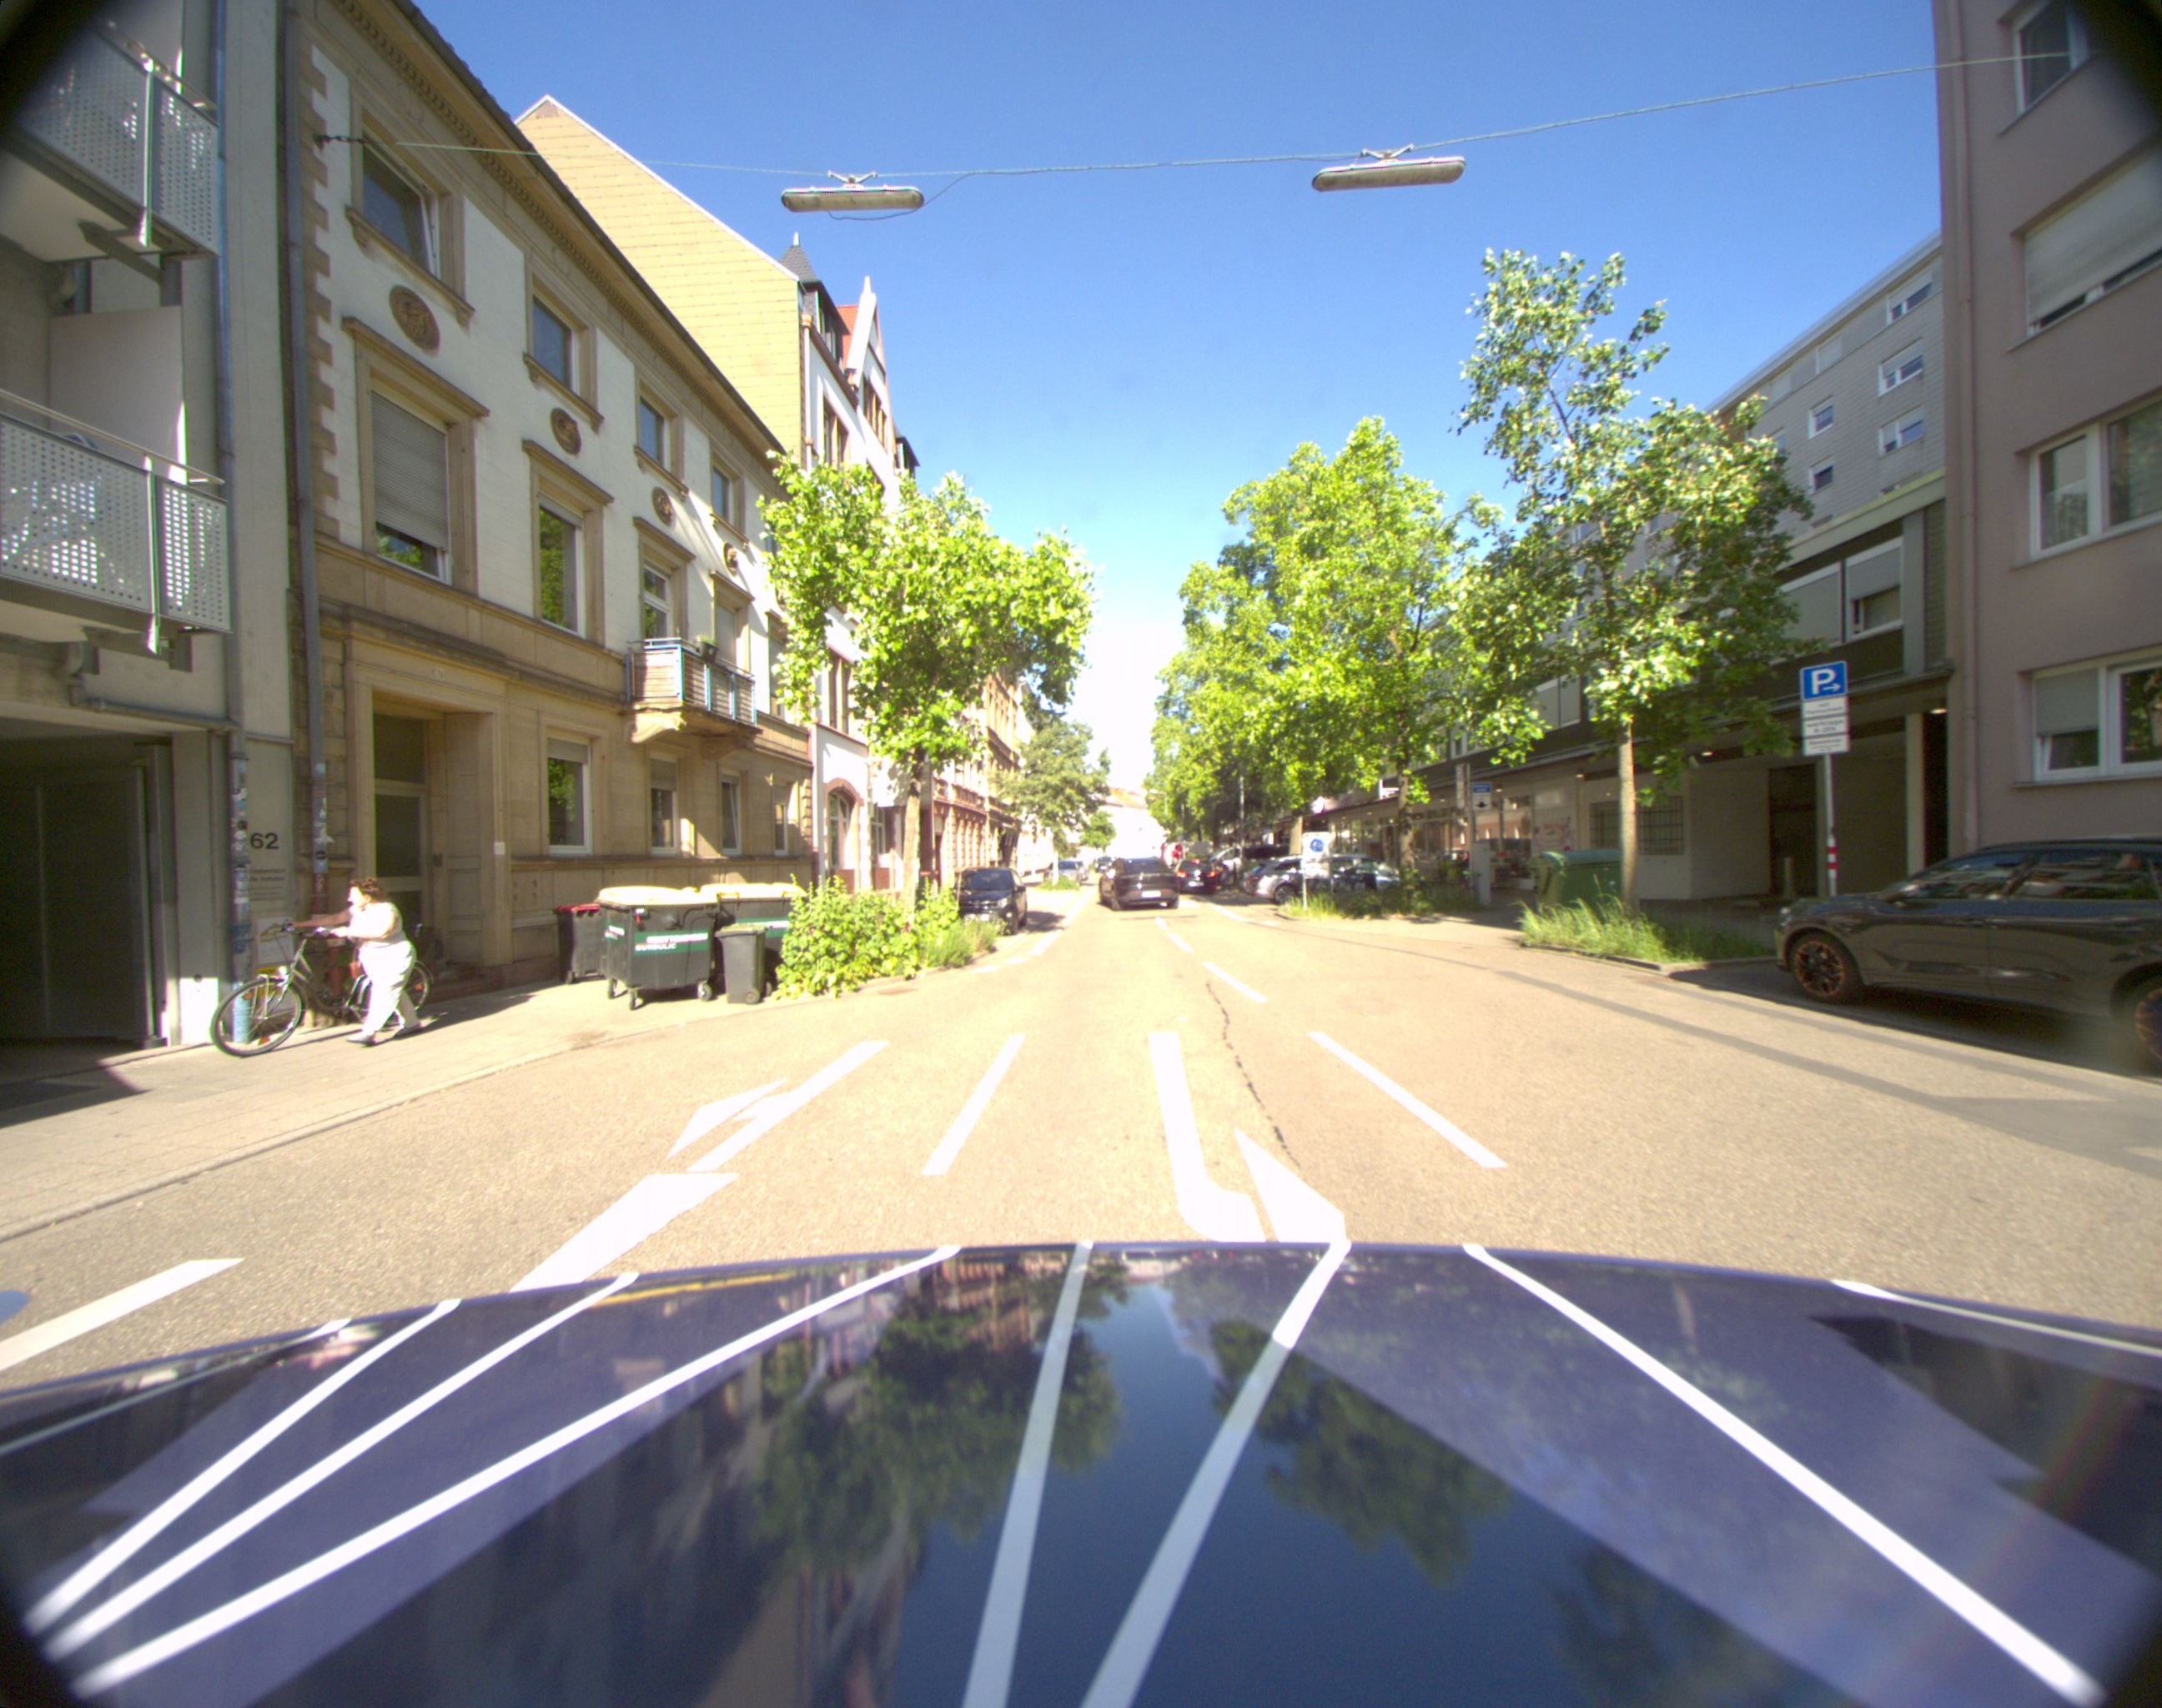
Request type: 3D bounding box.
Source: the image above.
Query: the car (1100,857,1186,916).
[{"bbox_3d":[1.827,0.941,23.884,1.995,1.598,4.260,-2,0,-5],"label":"car"}]

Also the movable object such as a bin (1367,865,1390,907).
[{"bbox_3d":[8.735,0.930,22.317,0.488,1.218,0.410,-1,1,4],"label":"movable object such as a bin"}]

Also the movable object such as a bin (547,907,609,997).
[{"bbox_3d":[-6.759,1.294,10.210,0.568,1.075,0.615,-1,3,-45],"label":"movable object such as a bin"}]

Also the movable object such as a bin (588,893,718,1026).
[{"bbox_3d":[-5.080,1.188,9.018,1.052,1.318,1.212,-1,2,-45],"label":"movable object such as a bin"}]

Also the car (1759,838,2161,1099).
[{"bbox_3d":[7.973,0.733,5.912,1.821,1.583,4.142,-5,0,5],"label":"car"}]

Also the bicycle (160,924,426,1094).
[{"bbox_3d":[-6.819,1.274,6.727,0.402,1.126,1.792,0,0,4],"label":"bicycle"}]

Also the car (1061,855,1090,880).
[{"bbox_3d":[-0.318,0.841,49.283,1.653,1.483,3.291,-1,0,3],"label":"car"}]

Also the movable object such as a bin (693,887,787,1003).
[{"bbox_3d":[-4.529,1.157,10.072,0.960,1.341,1.066,0,2,-35],"label":"movable object such as a bin"}]

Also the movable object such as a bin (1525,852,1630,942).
[{"bbox_3d":[8.862,0.754,13.618,1.246,1.536,1.019,-1,0,8],"label":"movable object such as a bin"}]

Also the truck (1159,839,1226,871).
[{"bbox_3d":[9.588,0.080,65.367,5.321,2.581,1.999,-1,0,-7],"label":"truck"}]

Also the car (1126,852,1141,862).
[{"bbox_3d":[10.490,0.620,151.217,1.995,2.002,4.006,-1,0,20],"label":"car"}]

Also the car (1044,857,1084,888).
[{"bbox_3d":[-0.847,0.919,39.980,1.759,1.492,3.950,-1,0,3],"label":"car"}]

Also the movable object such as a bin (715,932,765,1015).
[{"bbox_3d":[-4.067,1.417,9.084,0.401,0.916,0.484,1,2,-5],"label":"movable object such as a bin"}]

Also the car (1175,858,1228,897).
[{"bbox_3d":[4.945,0.938,31.552,1.867,1.455,4.001,-2,0,5],"label":"car"}]

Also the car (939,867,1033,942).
[{"bbox_3d":[-2.079,1.084,17.483,1.551,1.483,3.352,-1,0,3],"label":"car"}]

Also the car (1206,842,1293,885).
[{"bbox_3d":[8.477,0.465,38.453,3.996,2.020,2.000,-1,0,4],"label":"car"}]

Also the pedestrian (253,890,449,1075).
[{"bbox_3d":[-6.633,1.123,6.963,0.825,1.529,0.947,-1,0,3],"label":"pedestrian"}]

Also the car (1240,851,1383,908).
[{"bbox_3d":[7.296,0.781,24.378,3.996,1.665,2.000,-1,0,4],"label":"car"}]

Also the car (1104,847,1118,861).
[{"bbox_3d":[4.758,0.004,120.637,1.998,2.002,4.001,-1,0,4],"label":"car"}]

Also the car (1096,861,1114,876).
[{"bbox_3d":[2.399,1.426,75.354,1.653,1.446,3.291,-1,0,3],"label":"car"}]
